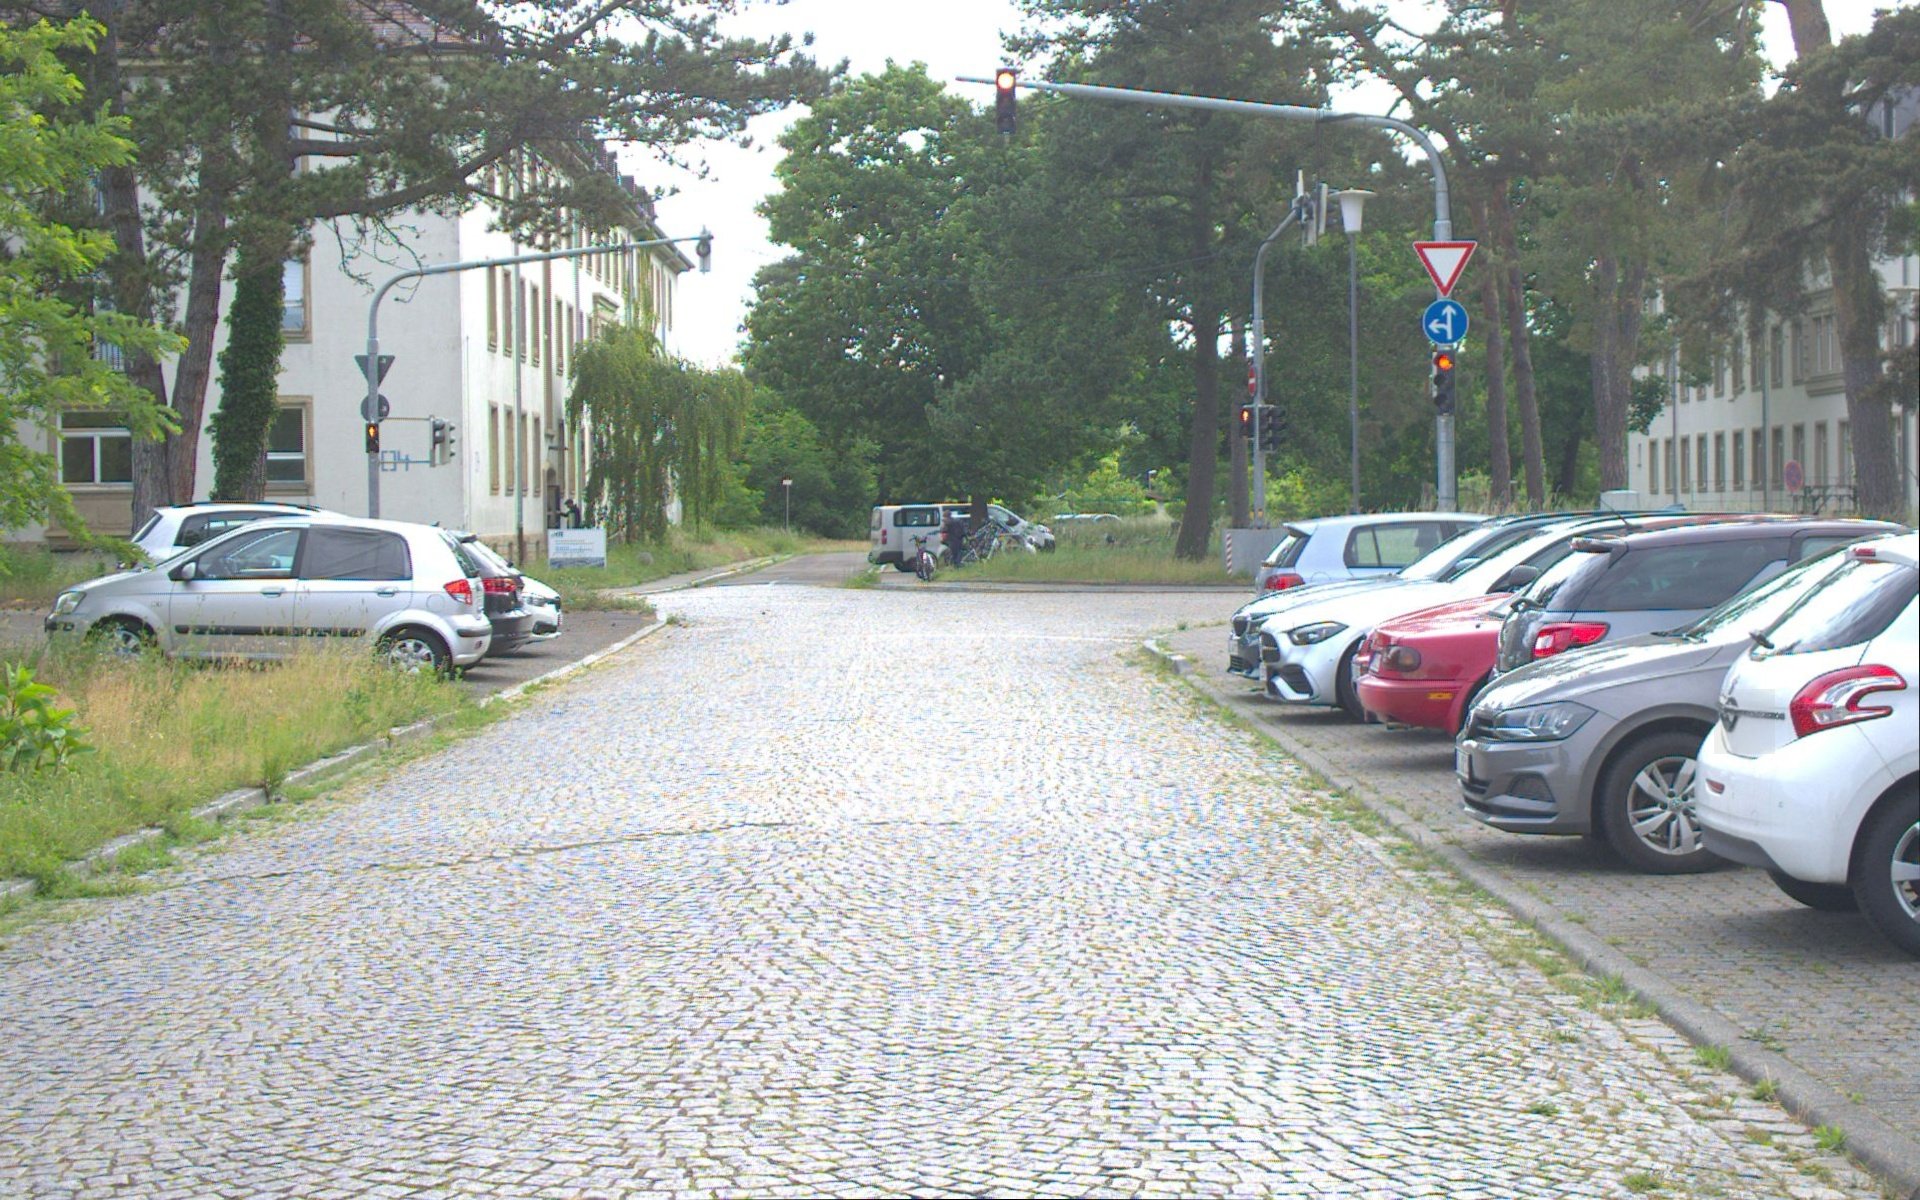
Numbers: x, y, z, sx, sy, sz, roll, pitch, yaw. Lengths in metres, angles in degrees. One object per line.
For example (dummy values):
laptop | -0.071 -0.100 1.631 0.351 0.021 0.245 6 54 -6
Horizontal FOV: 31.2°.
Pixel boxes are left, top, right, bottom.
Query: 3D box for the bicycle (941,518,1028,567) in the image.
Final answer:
bicycle | 0.572 -1.334 79.563 1.954 1.128 0.588 0 1 -7

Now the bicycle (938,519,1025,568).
bicycle | 0.503 -1.326 80.197 1.954 1.113 0.588 0 1 -7

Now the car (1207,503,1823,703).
car | 4.489 -0.005 28.280 4.680 1.411 1.871 -2 2 -2

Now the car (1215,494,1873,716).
car | 4.295 0.002 25.592 4.421 1.411 1.871 -2 2 -9

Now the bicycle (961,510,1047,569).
bicycle | 1.036 -1.429 81.026 1.954 1.379 0.588 0 1 -7

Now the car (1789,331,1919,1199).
car | 4.410 0.327 7.156 4.807 1.939 2.003 -2 2 -1

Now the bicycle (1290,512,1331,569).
bicycle | 6.878 -1.180 67.454 0.586 1.102 1.962 0 2 -1

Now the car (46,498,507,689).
car | -5.892 -0.075 29.921 3.702 1.474 1.583 2 1 -3

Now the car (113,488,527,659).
car | -6.512 -0.281 35.295 3.947 1.558 1.650 2 1 -3

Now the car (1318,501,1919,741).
car | 4.687 0.111 23.326 4.262 1.411 1.871 -2 2 0

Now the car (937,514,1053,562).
car | 0.952 -1.706 94.281 3.005 1.264 1.536 -1 1 -6

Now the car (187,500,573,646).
car | -6.336 -0.307 37.838 3.947 1.416 1.650 2 1 -1

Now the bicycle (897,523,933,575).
bicycle | -1.008 -1.146 76.370 0.603 1.128 1.962 0 2 -6

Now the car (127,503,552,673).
car | -5.817 -0.132 32.518 3.745 1.424 1.583 2 1 -3

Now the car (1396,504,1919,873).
car | 4.030 0.322 15.373 3.862 1.467 1.758 -2 2 -1

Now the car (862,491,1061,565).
car | 0.032 -2.062 97.638 5.359 1.918 2.025 -2 2 -9

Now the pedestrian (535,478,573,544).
pedestrian | -11.253 -2.468 95.277 0.774 1.831 0.741 -1 2 -32

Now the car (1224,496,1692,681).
car | 4.391 -0.125 30.730 3.927 1.472 1.642 -2 2 1

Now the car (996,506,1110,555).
car | 2.732 -2.059 101.521 3.231 1.411 1.725 -1 1 -3

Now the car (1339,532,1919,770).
car | 4.354 0.274 20.782 3.862 1.232 1.758 -2 2 -1

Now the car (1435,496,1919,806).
car | 4.608 0.211 18.215 3.862 1.467 1.758 -2 2 -1

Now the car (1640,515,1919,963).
car | 4.614 0.397 12.510 3.862 1.467 1.758 -2 2 -1
